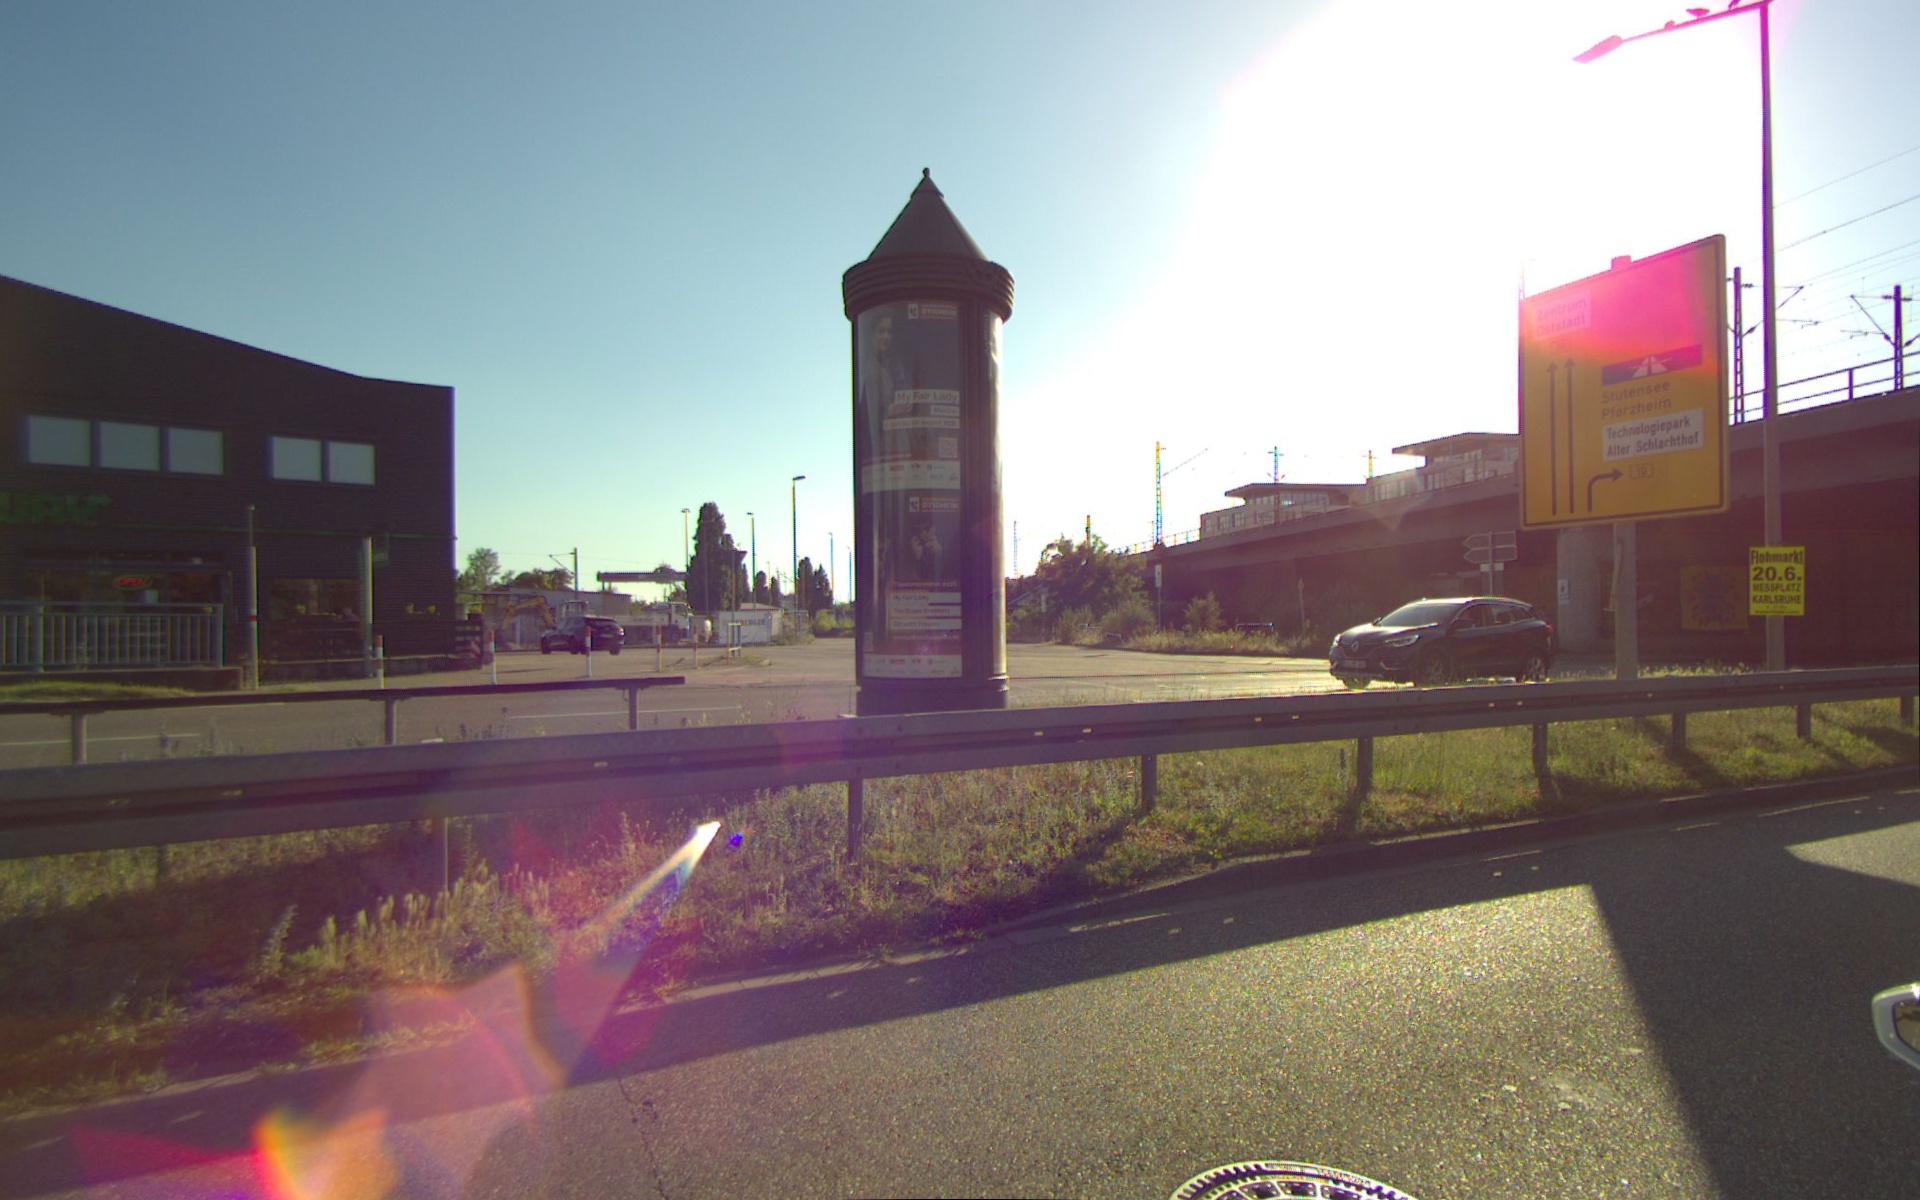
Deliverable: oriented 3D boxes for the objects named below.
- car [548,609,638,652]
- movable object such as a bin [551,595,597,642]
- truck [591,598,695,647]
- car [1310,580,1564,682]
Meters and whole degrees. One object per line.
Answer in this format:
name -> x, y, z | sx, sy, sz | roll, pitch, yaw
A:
car -> -14.057, 1.146, 38.330 | 1.831, 1.550, 3.949 | 1, -1, -43
movable object such as a bin -> -23.297, 1.126, 60.631 | 2.198, 2.751, 1.723 | 1, -1, -34
truck -> -21.591, 1.509, 68.803 | 2.398, 3.186, 6.760 | 0, -1, 33
car -> 8.486, 0.602, 17.831 | 4.340, 1.624, 1.839 | 1, -4, -28
